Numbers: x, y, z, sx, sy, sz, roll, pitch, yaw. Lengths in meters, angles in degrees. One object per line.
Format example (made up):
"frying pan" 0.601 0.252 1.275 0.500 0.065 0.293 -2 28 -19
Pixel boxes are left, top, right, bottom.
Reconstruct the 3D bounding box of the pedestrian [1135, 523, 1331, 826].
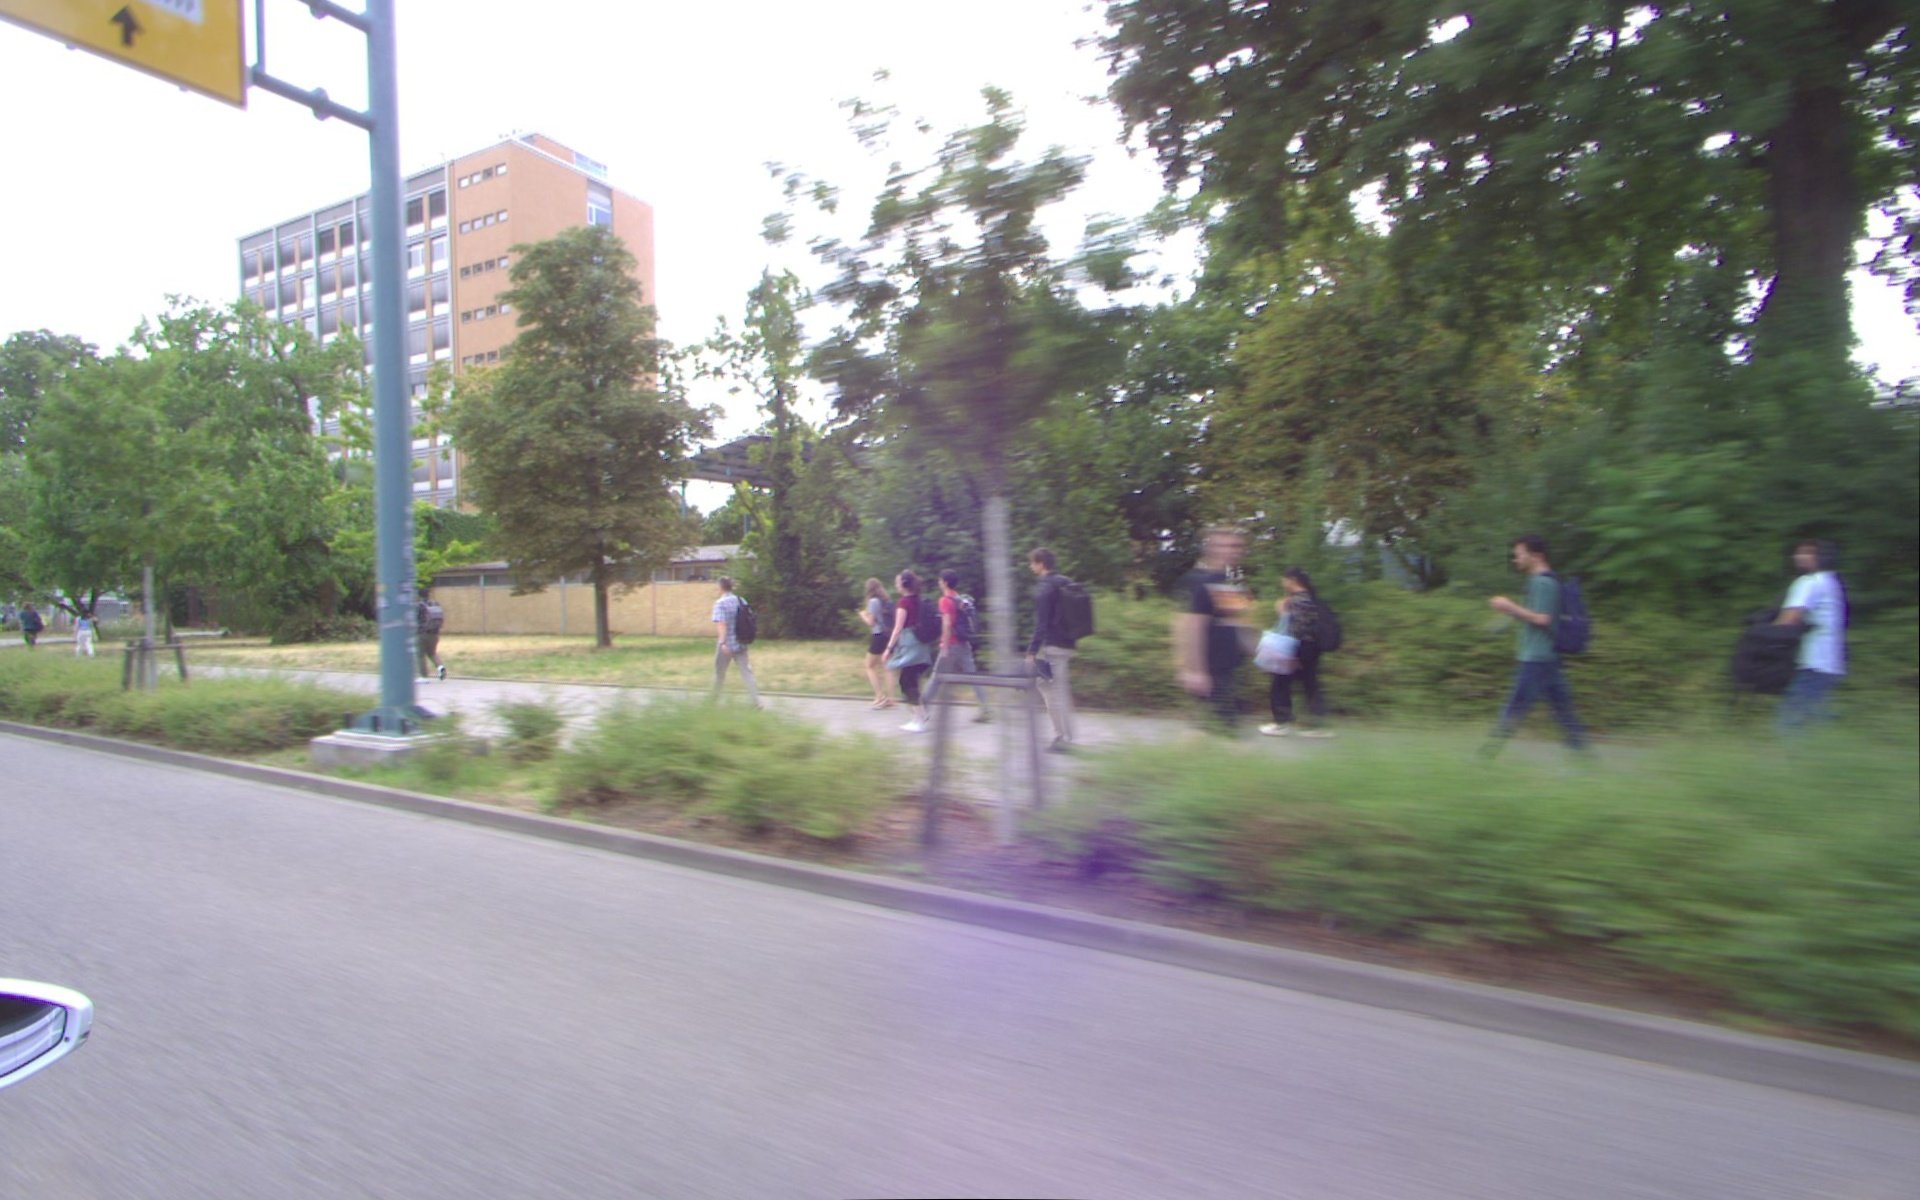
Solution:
"pedestrian" 1.821 0.452 6.735 0.923 1.855 0.882 -1 1 -29

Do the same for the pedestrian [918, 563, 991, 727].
"pedestrian" -0.059 0.490 11.245 0.655 1.787 0.483 0 1 34

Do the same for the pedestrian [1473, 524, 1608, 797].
"pedestrian" 4.203 0.410 7.248 0.801 1.846 0.654 0 1 34

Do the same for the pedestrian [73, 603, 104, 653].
"pedestrian" -26.663 0.839 30.634 0.651 1.490 0.557 -1 1 -39

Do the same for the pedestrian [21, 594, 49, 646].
"pedestrian" -31.423 0.667 34.029 0.641 1.736 0.556 -1 1 -41

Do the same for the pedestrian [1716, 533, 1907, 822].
"pedestrian" 5.188 0.435 6.166 0.801 1.624 0.773 0 1 34

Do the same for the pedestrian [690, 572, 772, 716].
"pedestrian" -2.894 0.536 12.658 0.803 1.759 0.617 0 1 34

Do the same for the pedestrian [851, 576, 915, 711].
"pedestrian" -0.972 0.535 12.607 0.644 1.655 0.466 0 1 34

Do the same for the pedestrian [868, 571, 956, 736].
"pedestrian" -0.506 0.546 10.630 0.743 1.677 0.554 0 1 34

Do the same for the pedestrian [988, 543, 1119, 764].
"pedestrian" 0.831 0.450 8.911 0.941 1.846 0.691 0 1 34

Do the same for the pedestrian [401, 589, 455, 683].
"pedestrian" -9.920 0.652 18.677 0.738 1.705 0.585 0 1 34

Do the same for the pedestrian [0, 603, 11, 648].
"pedestrian" -38.010 1.011 39.496 0.796 1.736 0.757 -2 1 -43

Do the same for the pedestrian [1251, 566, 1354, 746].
"pedestrian" 3.206 0.497 9.359 0.774 1.605 0.634 0 1 34
